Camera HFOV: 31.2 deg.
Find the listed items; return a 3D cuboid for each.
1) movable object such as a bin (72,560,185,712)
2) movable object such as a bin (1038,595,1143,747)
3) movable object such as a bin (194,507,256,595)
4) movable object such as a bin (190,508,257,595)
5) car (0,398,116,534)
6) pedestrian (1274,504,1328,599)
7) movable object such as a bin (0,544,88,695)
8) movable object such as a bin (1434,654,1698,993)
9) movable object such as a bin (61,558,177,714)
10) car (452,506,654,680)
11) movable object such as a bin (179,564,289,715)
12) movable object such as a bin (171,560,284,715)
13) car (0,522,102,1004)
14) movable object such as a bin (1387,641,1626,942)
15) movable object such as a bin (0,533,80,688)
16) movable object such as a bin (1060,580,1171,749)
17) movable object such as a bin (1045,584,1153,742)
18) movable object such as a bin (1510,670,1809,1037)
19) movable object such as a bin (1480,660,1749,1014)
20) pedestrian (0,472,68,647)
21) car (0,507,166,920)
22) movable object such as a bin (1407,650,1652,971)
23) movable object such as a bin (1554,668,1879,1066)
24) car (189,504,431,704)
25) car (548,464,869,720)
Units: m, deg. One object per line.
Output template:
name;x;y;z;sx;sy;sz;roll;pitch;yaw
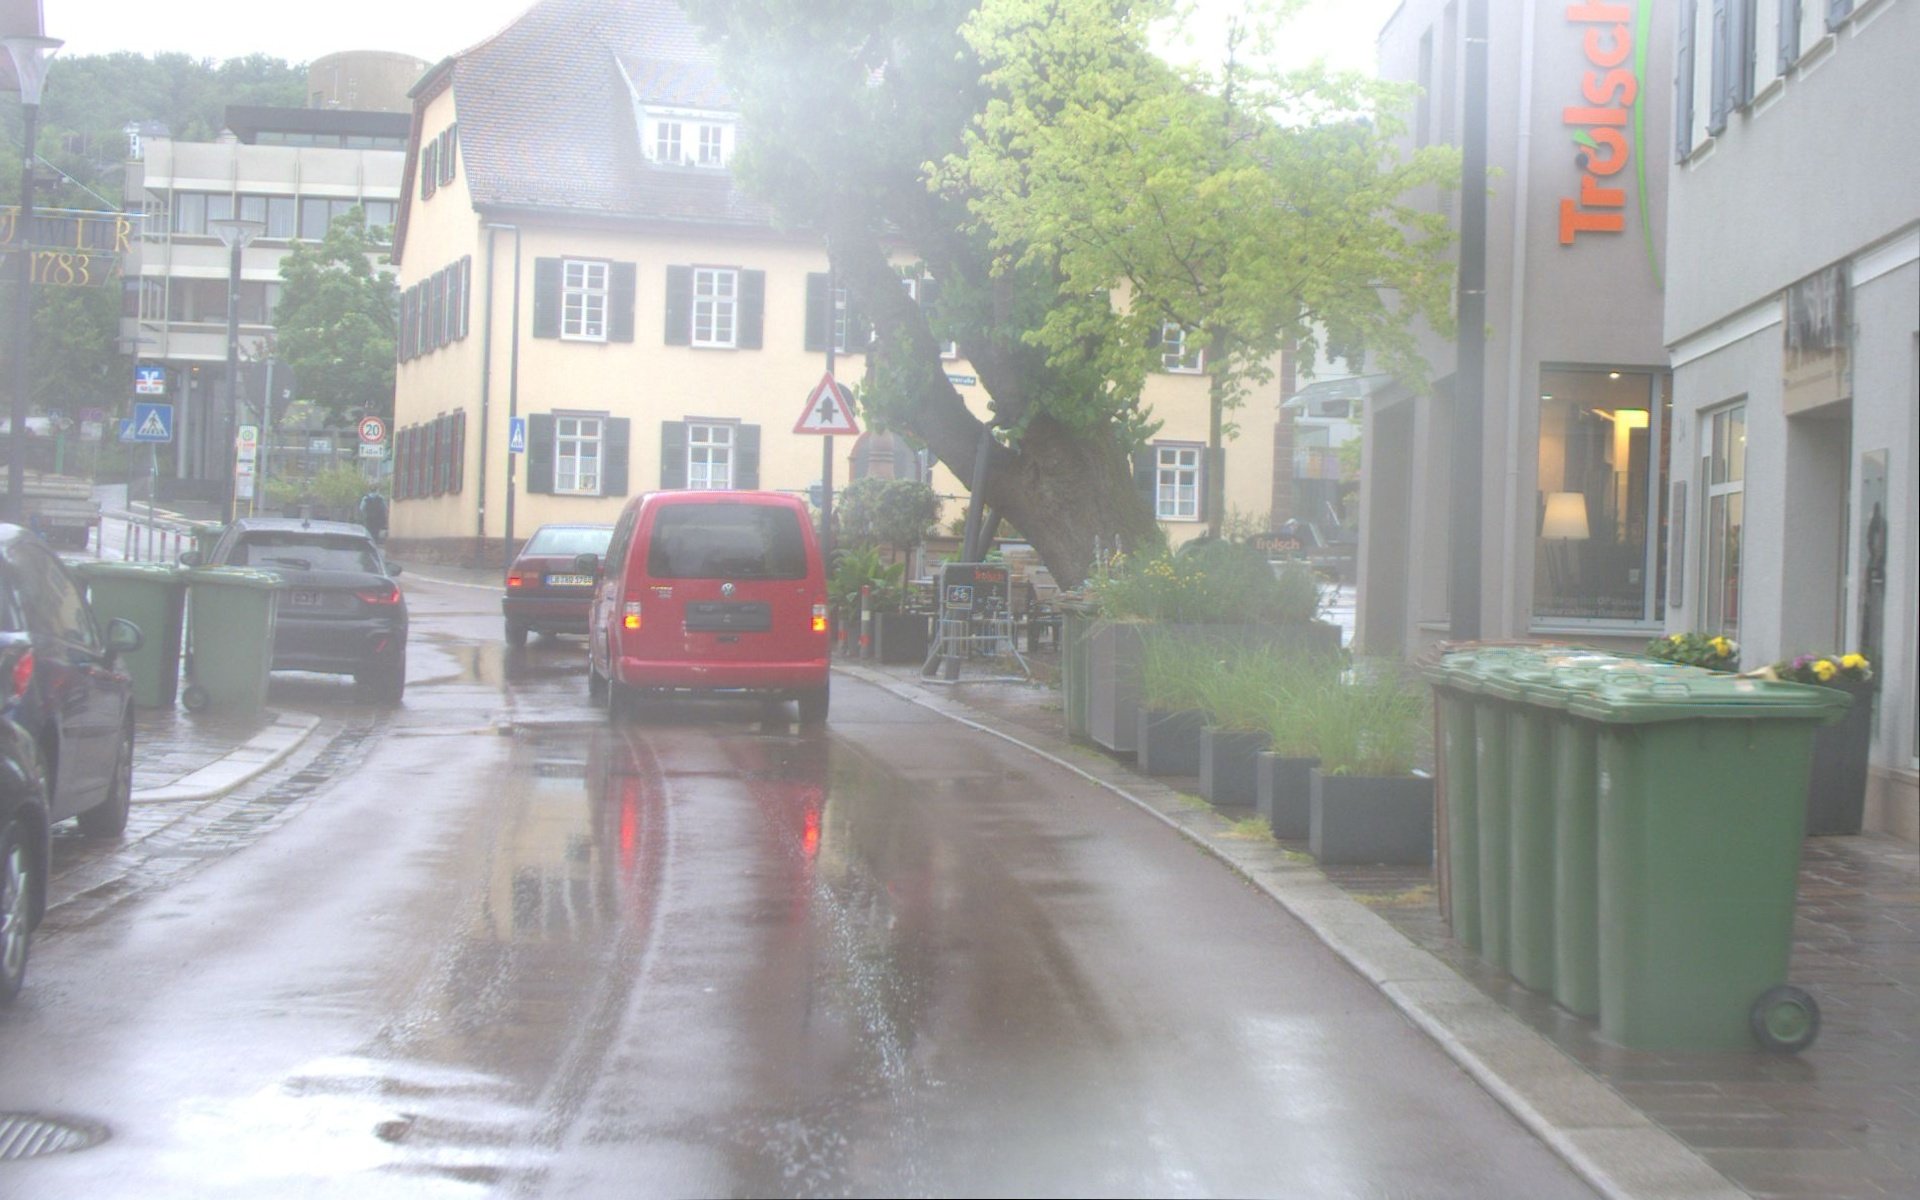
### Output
movable object such as a bin;-6.311;0.270;26.125;0.725;1.106;0.597;3;0;-8
movable object such as a bin;0.979;0.530;25.926;0.677;1.099;0.579;3;0;-4
movable object such as a bin;-9.613;-0.636;44.974;0.714;1.102;0.600;3;-1;-10
movable object such as a bin;-9.780;-0.640;45.657;0.794;1.102;0.722;3;0;-10
car;-19.729;-2.799;73.684;2.299;2.593;6.960;3;0;-20
pedestrian;6.814;-0.964;68.747;0.898;1.836;0.766;3;-1;-2
movable object such as a bin;-7.015;0.142;26.070;0.659;1.106;0.616;3;0;-8
movable object such as a bin;2.073;0.753;11.820;0.735;1.094;0.611;3;0;-2
movable object such as a bin;-6.234;0.263;25.499;0.725;1.106;0.597;3;0;-8
car;-4.730;-0.077;39.509;1.993;1.793;4.001;3;0;-10
movable object such as a bin;-5.551;0.301;26.307;0.725;1.106;0.645;3;0;-8
movable object such as a bin;-5.464;0.277;25.672;0.725;1.106;0.597;3;0;-8
car;-3.727;0.496;9.436;1.692;1.438;3.885;3;2;0
movable object such as a bin;2.062;0.712;13.032;0.753;1.086;0.656;1;1;-3
movable object such as a bin;-6.949;0.072;25.449;0.725;1.106;0.597;3;0;-8
movable object such as a bin;1.095;0.451;24.301;0.631;1.146;0.580;3;-1;-8
movable object such as a bin;1.003;0.448;24.881;0.631;1.100;0.580;3;-1;-8
movable object such as a bin;2.156;0.769;10.658;0.754;1.060;0.600;3;0;1
movable object such as a bin;2.129;0.762;11.237;0.729;1.087;0.521;3;-1;1
pedestrian;-9.231;-0.403;34.233;0.518;1.705;0.578;3;-1;-8
car;-4.539;0.349;14.756;1.756;1.468;3.945;3;2;-8
movable object such as a bin;2.050;0.746;12.438;0.735;1.094;0.611;3;0;-1
movable object such as a bin;2.191;0.761;10.021;0.768;1.076;0.599;3;0;1
car;-5.702;-0.014;29.845;1.787;1.490;4.002;3;1;-14
car;-2.137;-0.130;28.121;1.893;1.805;4.002;3;2;-14
